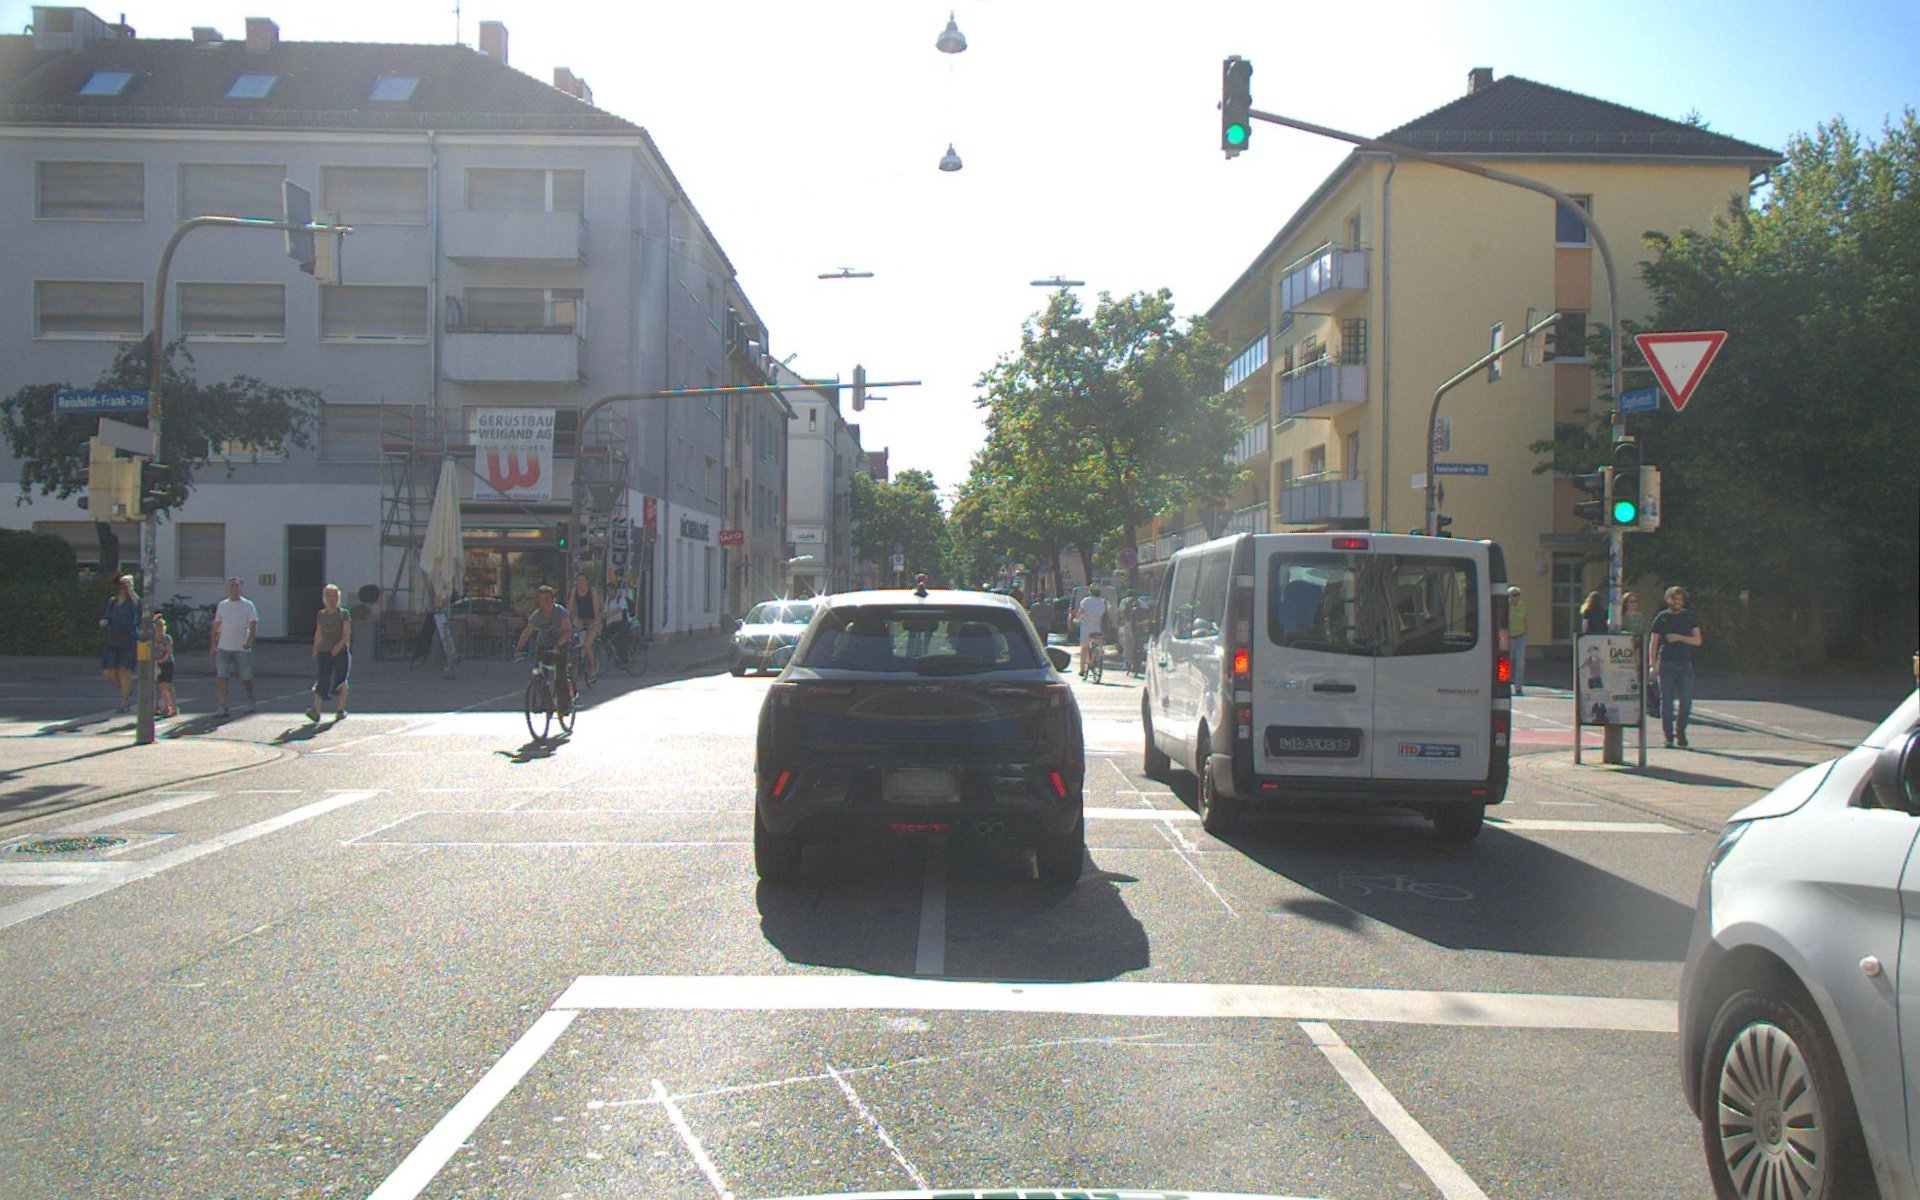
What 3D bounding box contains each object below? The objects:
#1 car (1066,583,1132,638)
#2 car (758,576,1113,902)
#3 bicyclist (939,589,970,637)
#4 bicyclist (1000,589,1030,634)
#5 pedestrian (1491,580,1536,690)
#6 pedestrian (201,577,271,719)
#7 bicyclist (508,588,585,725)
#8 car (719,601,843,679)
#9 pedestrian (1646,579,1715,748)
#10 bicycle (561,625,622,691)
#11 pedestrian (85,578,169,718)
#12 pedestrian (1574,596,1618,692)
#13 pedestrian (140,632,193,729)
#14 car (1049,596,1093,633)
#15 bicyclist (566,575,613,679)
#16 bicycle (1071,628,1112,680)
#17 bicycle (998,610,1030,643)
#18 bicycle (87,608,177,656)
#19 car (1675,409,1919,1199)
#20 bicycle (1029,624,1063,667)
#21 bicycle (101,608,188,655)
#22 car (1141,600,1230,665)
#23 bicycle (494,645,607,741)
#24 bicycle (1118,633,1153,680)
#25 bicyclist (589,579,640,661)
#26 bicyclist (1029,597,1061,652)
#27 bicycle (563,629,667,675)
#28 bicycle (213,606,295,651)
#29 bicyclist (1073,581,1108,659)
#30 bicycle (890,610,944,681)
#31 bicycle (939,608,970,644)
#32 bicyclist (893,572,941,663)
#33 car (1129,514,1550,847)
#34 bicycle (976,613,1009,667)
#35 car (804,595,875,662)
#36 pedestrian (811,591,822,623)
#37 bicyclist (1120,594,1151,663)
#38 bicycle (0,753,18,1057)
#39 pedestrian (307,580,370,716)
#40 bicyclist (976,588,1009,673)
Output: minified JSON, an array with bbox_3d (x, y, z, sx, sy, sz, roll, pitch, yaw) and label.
[{"bbox_3d":[4.903,0.340,58.941,2.004,1.879,4.584,0,0,0],"label":"car"},{"bbox_3d":[-0.150,0.684,10.078,1.726,1.586,3.999,0,0,-1],"label":"car"},{"bbox_3d":[-0.158,0.377,48.506,0.839,1.337,1.210,2,0,-1],"label":"bicyclist"},{"bbox_3d":[1.692,0.335,51.085,0.839,1.337,1.210,2,0,-1],"label":"bicyclist"},{"bbox_3d":[9.171,0.573,27.398,0.515,1.792,0.623,0,0,-3],"label":"pedestrian"},{"bbox_3d":[-8.915,0.576,20.383,0.561,1.718,0.669,0,0,-1],"label":"pedestrian"},{"bbox_3d":[-4.387,0.586,17.573,0.531,1.415,0.789,0,0,8],"label":"bicyclist"},{"bbox_3d":[-3.534,0.753,33.336,1.798,1.459,4.178,0,0,4],"label":"car"},{"bbox_3d":[8.074,0.694,18.560,0.591,1.854,0.629,0,0,12],"label":"pedestrian"},{"bbox_3d":[-5.567,0.856,25.040,0.531,0.918,1.826,0,0,-1],"label":"bicycle"},{"bbox_3d":[-10.502,0.591,20.873,0.561,1.712,0.968,0,0,0],"label":"pedestrian"},{"bbox_3d":[10.775,0.736,28.041,0.528,1.598,0.539,0,0,-1],"label":"pedestrian"},{"bbox_3d":[-9.729,0.982,20.293,0.377,1.166,0.532,0,0,1],"label":"pedestrian"},{"bbox_3d":[4.771,0.609,71.418,1.678,1.509,3.380,0,0,0],"label":"car"},{"bbox_3d":[-5.565,0.400,24.878,0.531,1.547,0.774,0,0,-1],"label":"bicyclist"},{"bbox_3d":[2.393,0.979,30.295,0.607,0.881,1.876,0,0,0],"label":"bicycle"},{"bbox_3d":[1.670,0.804,51.089,0.839,0.961,2.307,2,0,-1],"label":"bicycle"},{"bbox_3d":[-16.800,0.642,33.567,1.556,0.956,0.512,0,0,1],"label":"bicycle"},{"bbox_3d":[2.902,0.547,1.914,1.928,1.842,4.831,0,0,-2],"label":"car"},{"bbox_3d":[1.891,0.999,36.619,0.677,0.881,1.876,0,0,0],"label":"bicycle"},{"bbox_3d":[-16.854,0.644,34.198,1.556,0.956,0.512,0,0,1],"label":"bicycle"},{"bbox_3d":[5.485,0.765,40.595,1.678,1.509,3.480,0,0,0],"label":"car"},{"bbox_3d":[-4.371,0.973,17.770,0.531,0.918,1.828,0,0,8],"label":"bicycle"},{"bbox_3d":[3.591,1.145,33.921,0.535,0.881,1.876,0,0,0],"label":"bicycle"},{"bbox_3d":[-6.769,0.383,32.413,0.545,1.576,0.810,1,0,39],"label":"bicyclist"},{"bbox_3d":[1.894,0.535,36.761,0.678,1.214,0.595,0,0,0],"label":"bicyclist"},{"bbox_3d":[-6.752,1.003,32.451,0.544,0.848,2.121,1,0,39],"label":"bicycle"},{"bbox_3d":[-15.367,0.622,36.006,1.556,0.956,0.512,0,0,1],"label":"bicycle"},{"bbox_3d":[2.394,0.367,30.326,0.576,1.406,0.823,0,0,0],"label":"bicyclist"},{"bbox_3d":[-0.834,0.847,31.370,0.786,1.277,2.135,0,0,-8],"label":"bicycle"},{"bbox_3d":[-0.177,0.750,48.527,0.839,0.961,2.307,2,0,-1],"label":"bicycle"},{"bbox_3d":[-0.814,0.323,31.225,0.786,1.678,1.123,0,0,-8],"label":"bicyclist"},{"bbox_3d":[2.576,0.498,12.616,1.928,1.974,5.054,2,0,-1],"label":"car"},{"bbox_3d":[0.654,0.799,33.867,0.619,1.059,1.795,0,0,-1],"label":"bicycle"},{"bbox_3d":[-3.025,0.707,42.133,1.559,1.593,4.088,-1,0,-1],"label":"car"},{"bbox_3d":[-7.299,0.335,84.197,0.566,1.610,0.707,0,0,-6],"label":"pedestrian"},{"bbox_3d":[3.601,0.575,33.972,0.535,1.406,0.823,0,0,0],"label":"bicyclist"},{"bbox_3d":[-3.430,1.001,4.472,0.666,0.969,1.933,-1,0,-1],"label":"bicycle"},{"bbox_3d":[-7.435,0.564,19.808,0.520,1.609,0.563,0,0,2],"label":"pedestrian"},{"bbox_3d":[0.661,0.604,33.743,0.619,1.698,1.050,0,0,-1],"label":"bicyclist"}]
